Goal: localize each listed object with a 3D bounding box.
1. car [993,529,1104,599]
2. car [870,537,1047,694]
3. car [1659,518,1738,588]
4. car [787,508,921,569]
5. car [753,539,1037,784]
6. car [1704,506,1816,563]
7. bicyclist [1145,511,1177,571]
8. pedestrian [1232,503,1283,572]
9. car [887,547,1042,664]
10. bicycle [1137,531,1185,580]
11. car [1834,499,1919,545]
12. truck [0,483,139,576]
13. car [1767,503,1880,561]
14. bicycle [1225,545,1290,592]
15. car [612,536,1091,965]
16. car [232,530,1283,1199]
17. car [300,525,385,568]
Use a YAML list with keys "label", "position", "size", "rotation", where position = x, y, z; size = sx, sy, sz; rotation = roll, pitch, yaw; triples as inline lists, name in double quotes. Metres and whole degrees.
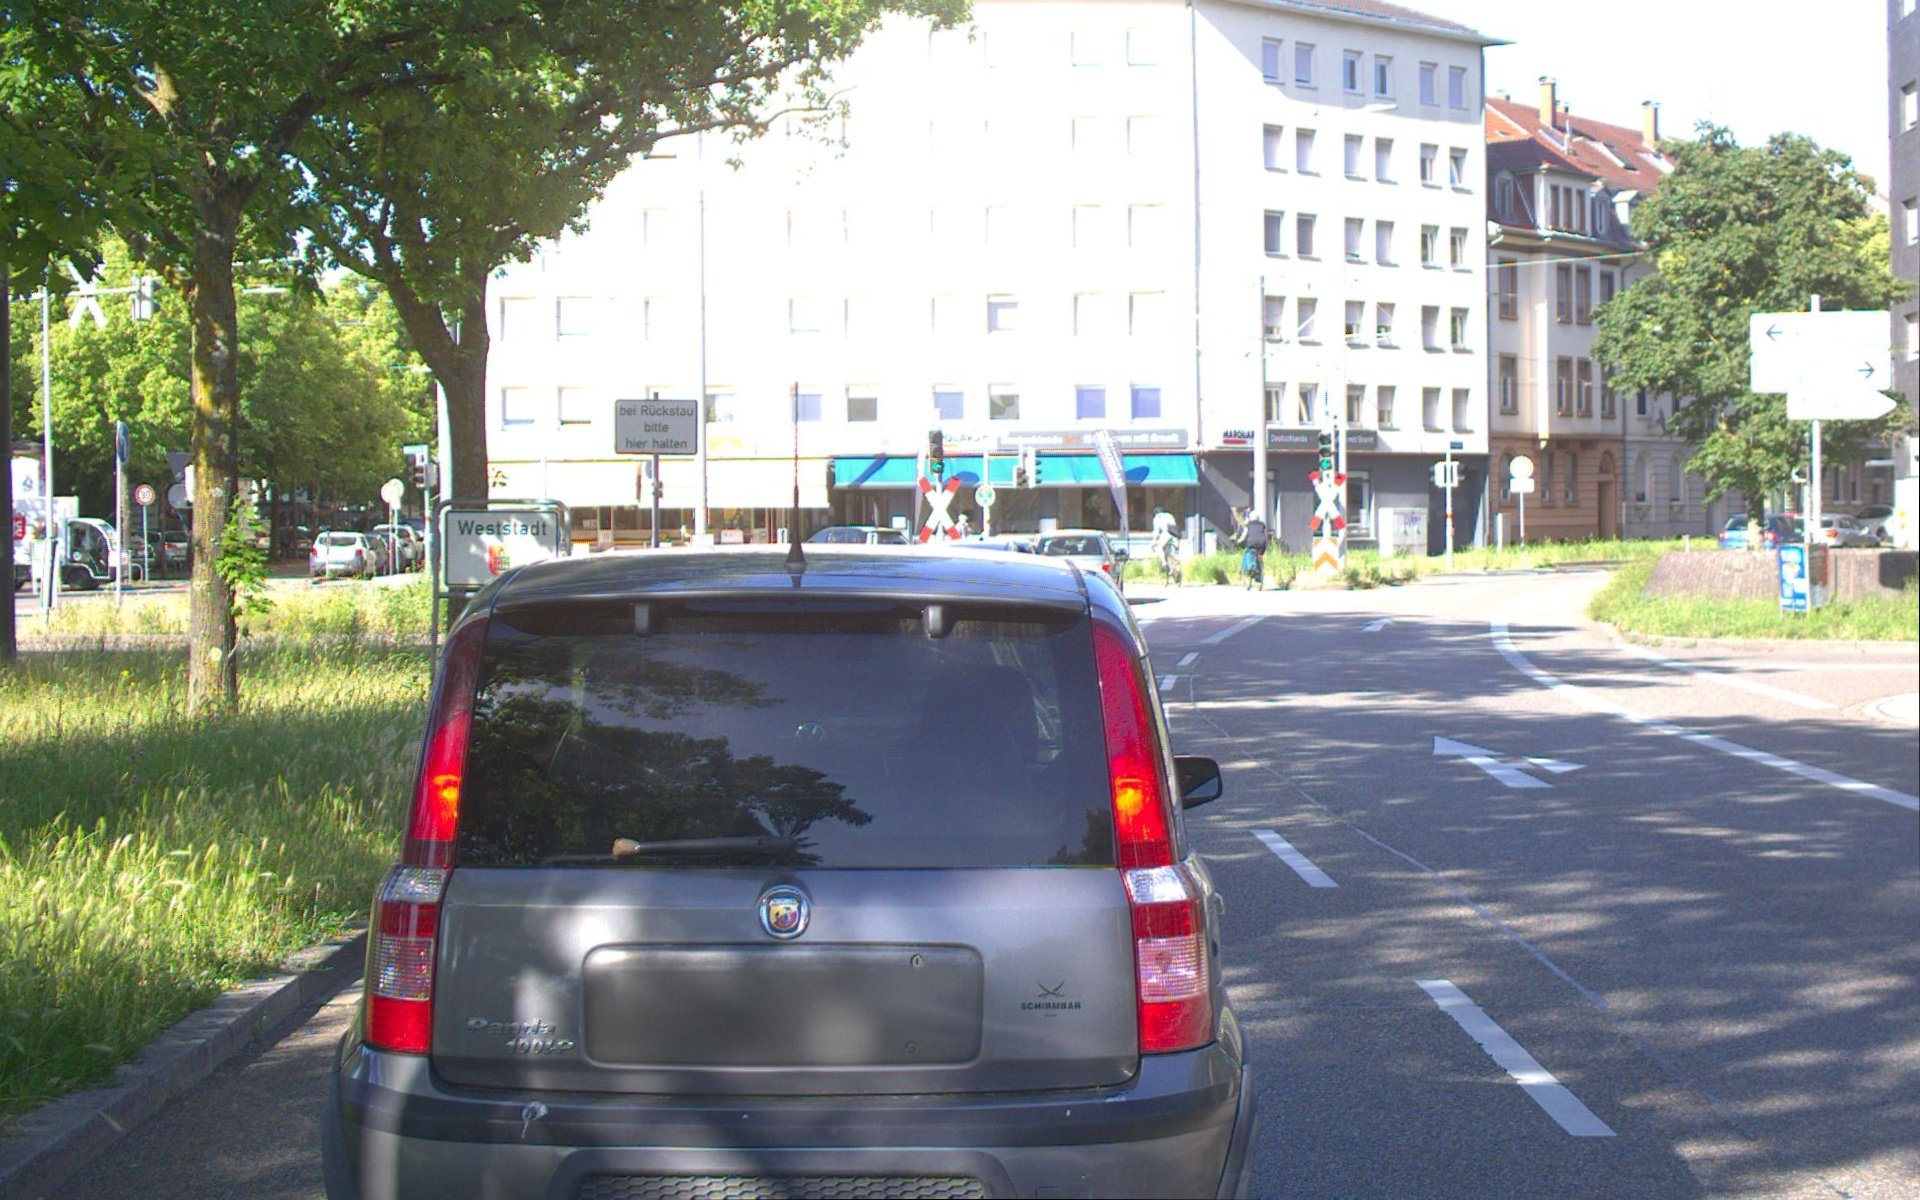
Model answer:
- label: "car"
  position: [1.680, -0.690, 63.947]
  size: [1.994, 1.238, 4.000]
  rotation: [0, 1, 2]
- label: "car"
  position: [0.017, 0.117, 33.794]
  size: [1.646, 1.433, 3.396]
  rotation: [0, 1, 1]
- label: "car"
  position: [22.059, -1.394, 102.589]
  size: [1.995, 2.007, 3.997]
  rotation: [1, 1, 16]
- label: "car"
  position: [-2.686, -1.549, 86.586]
  size: [1.657, 1.496, 3.593]
  rotation: [-2, 2, -35]
- label: "car"
  position: [-0.467, 0.344, 23.616]
  size: [1.760, 1.481, 4.294]
  rotation: [-1, 1, -2]
- label: "car"
  position: [21.055, -1.740, 90.372]
  size: [1.778, 1.437, 3.612]
  rotation: [1, 2, 32]
- label: "bicyclist"
  position: [4.555, -1.345, 77.843]
  size: [0.530, 1.352, 0.598]
  rotation: [-1, 1, -19]
- label: "pedestrian"
  position: [6.177, -1.298, 71.411]
  size: [0.773, 1.423, 0.939]
  rotation: [1, 0, -14]
- label: "car"
  position: [0.096, 0.037, 40.135]
  size: [1.690, 1.249, 3.626]
  rotation: [-1, 1, 2]
- label: "bicycle"
  position: [4.547, -1.024, 77.863]
  size: [0.530, 1.086, 1.585]
  rotation: [-1, 1, -19]
- label: "car"
  position: [32.597, -2.752, 120.998]
  size: [1.904, 1.588, 4.001]
  rotation: [-1, 2, -13]
- label: "truck"
  position: [-23.805, -1.852, 90.196]
  size: [4.096, 2.418, 1.794]
  rotation: [0, 1, -2]
- label: "car"
  position: [23.753, -1.886, 94.499]
  size: [1.823, 1.503, 3.993]
  rotation: [0, 2, 33]
- label: "bicycle"
  position: [6.172, -0.654, 71.380]
  size: [0.782, 0.948, 1.857]
  rotation: [1, 1, -14]
- label: "car"
  position: [-0.390, 0.480, 13.593]
  size: [1.621, 1.424, 3.688]
  rotation: [-1, 1, -1]
- label: "car"
  position: [-0.290, 0.623, 7.089]
  size: [1.660, 1.505, 3.251]
  rotation: [0, 1, 1]
- label: "car"
  position: [-19.402, -1.698, 108.157]
  size: [1.993, 1.305, 4.000]
  rotation: [-1, 1, -1]
